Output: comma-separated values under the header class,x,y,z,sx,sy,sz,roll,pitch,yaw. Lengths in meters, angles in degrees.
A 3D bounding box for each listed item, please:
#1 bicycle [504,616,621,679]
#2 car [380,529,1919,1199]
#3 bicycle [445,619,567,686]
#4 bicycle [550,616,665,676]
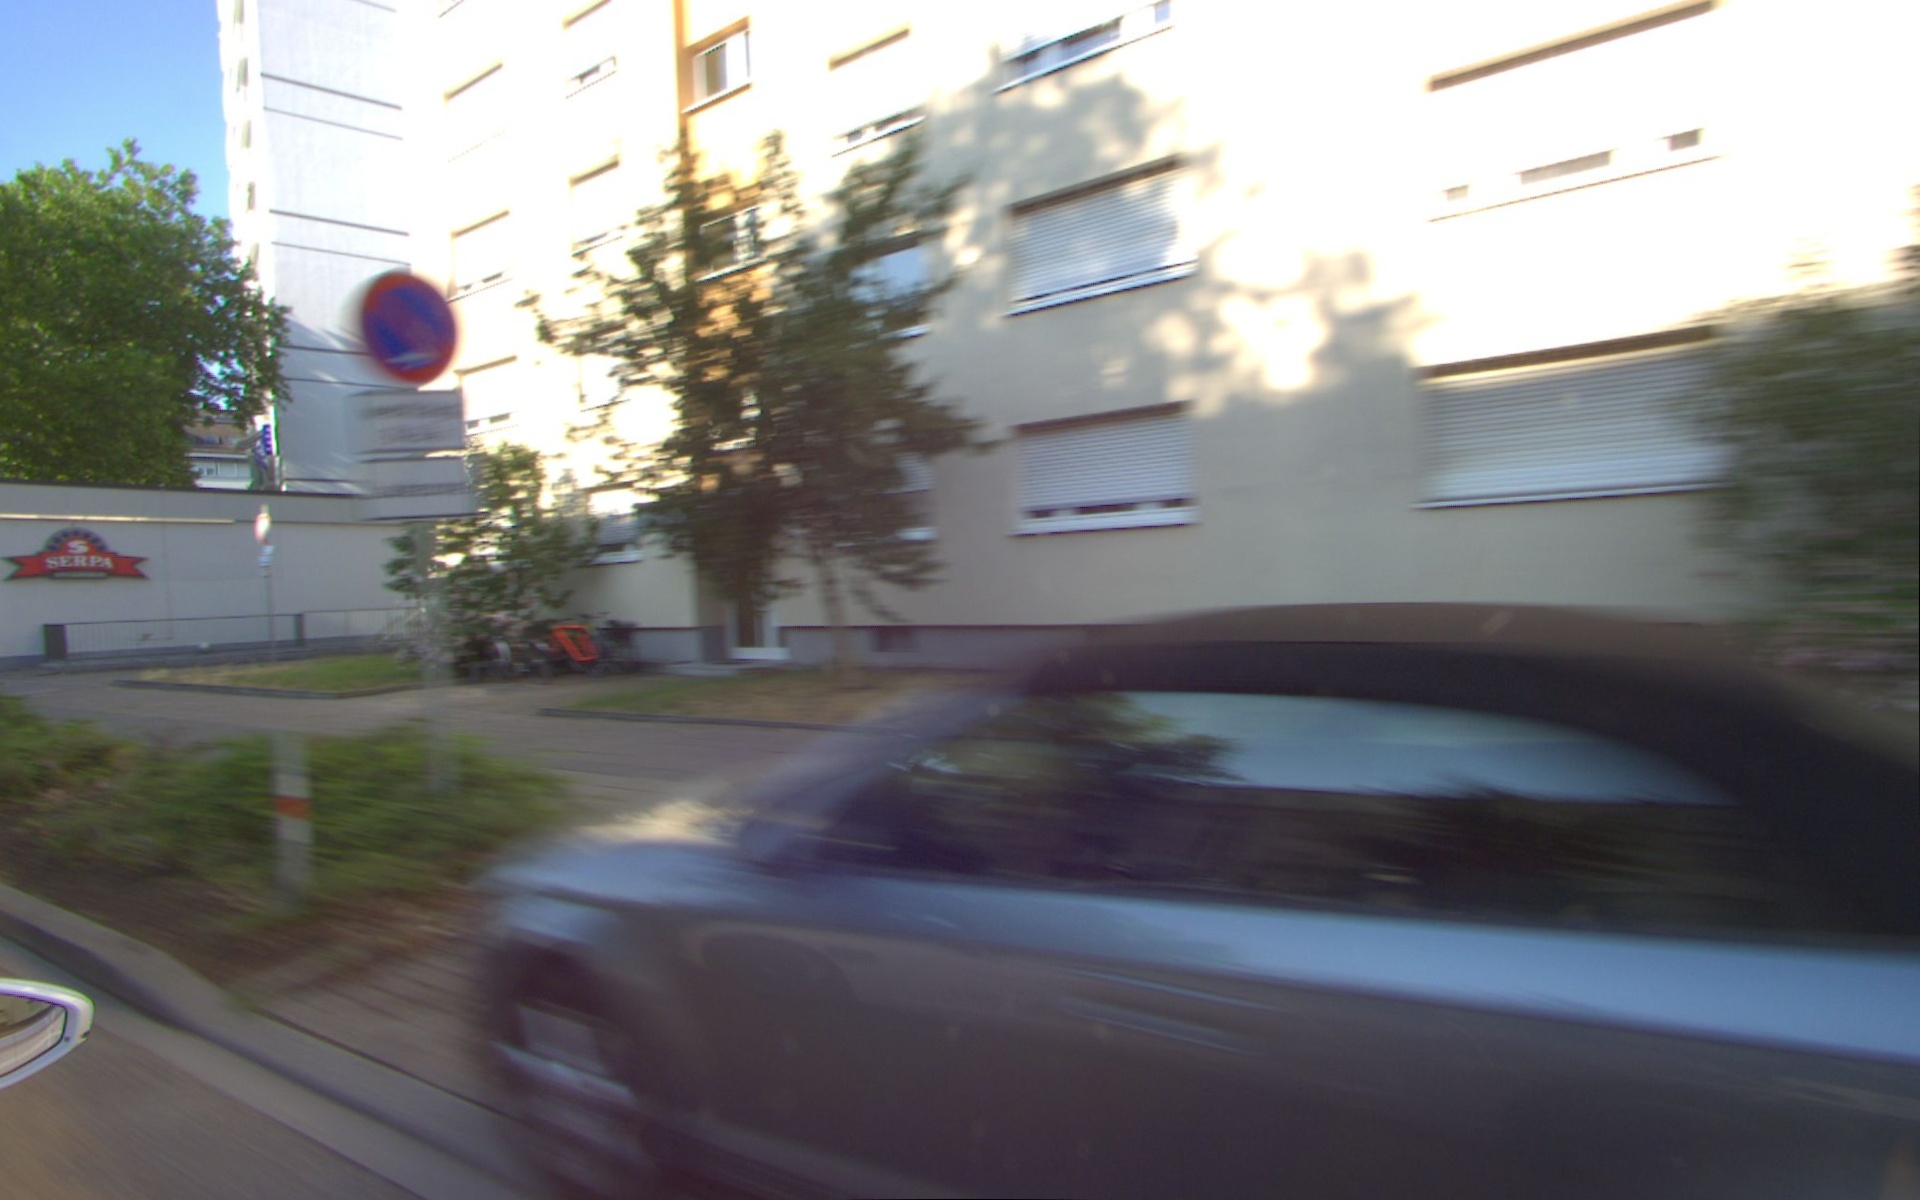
class,x,y,z,sx,sy,sz,roll,pitch,yaw
bicycle,-6.604,0.762,16.595,2.197,0.938,0.635,1,1,32
car,0.515,0.714,2.480,3.943,1.492,1.737,-2,-1,32
bicycle,-7.092,0.785,15.602,2.197,0.938,0.635,1,1,32
bicycle,-6.079,0.766,17.220,2.197,0.938,0.635,1,1,32
